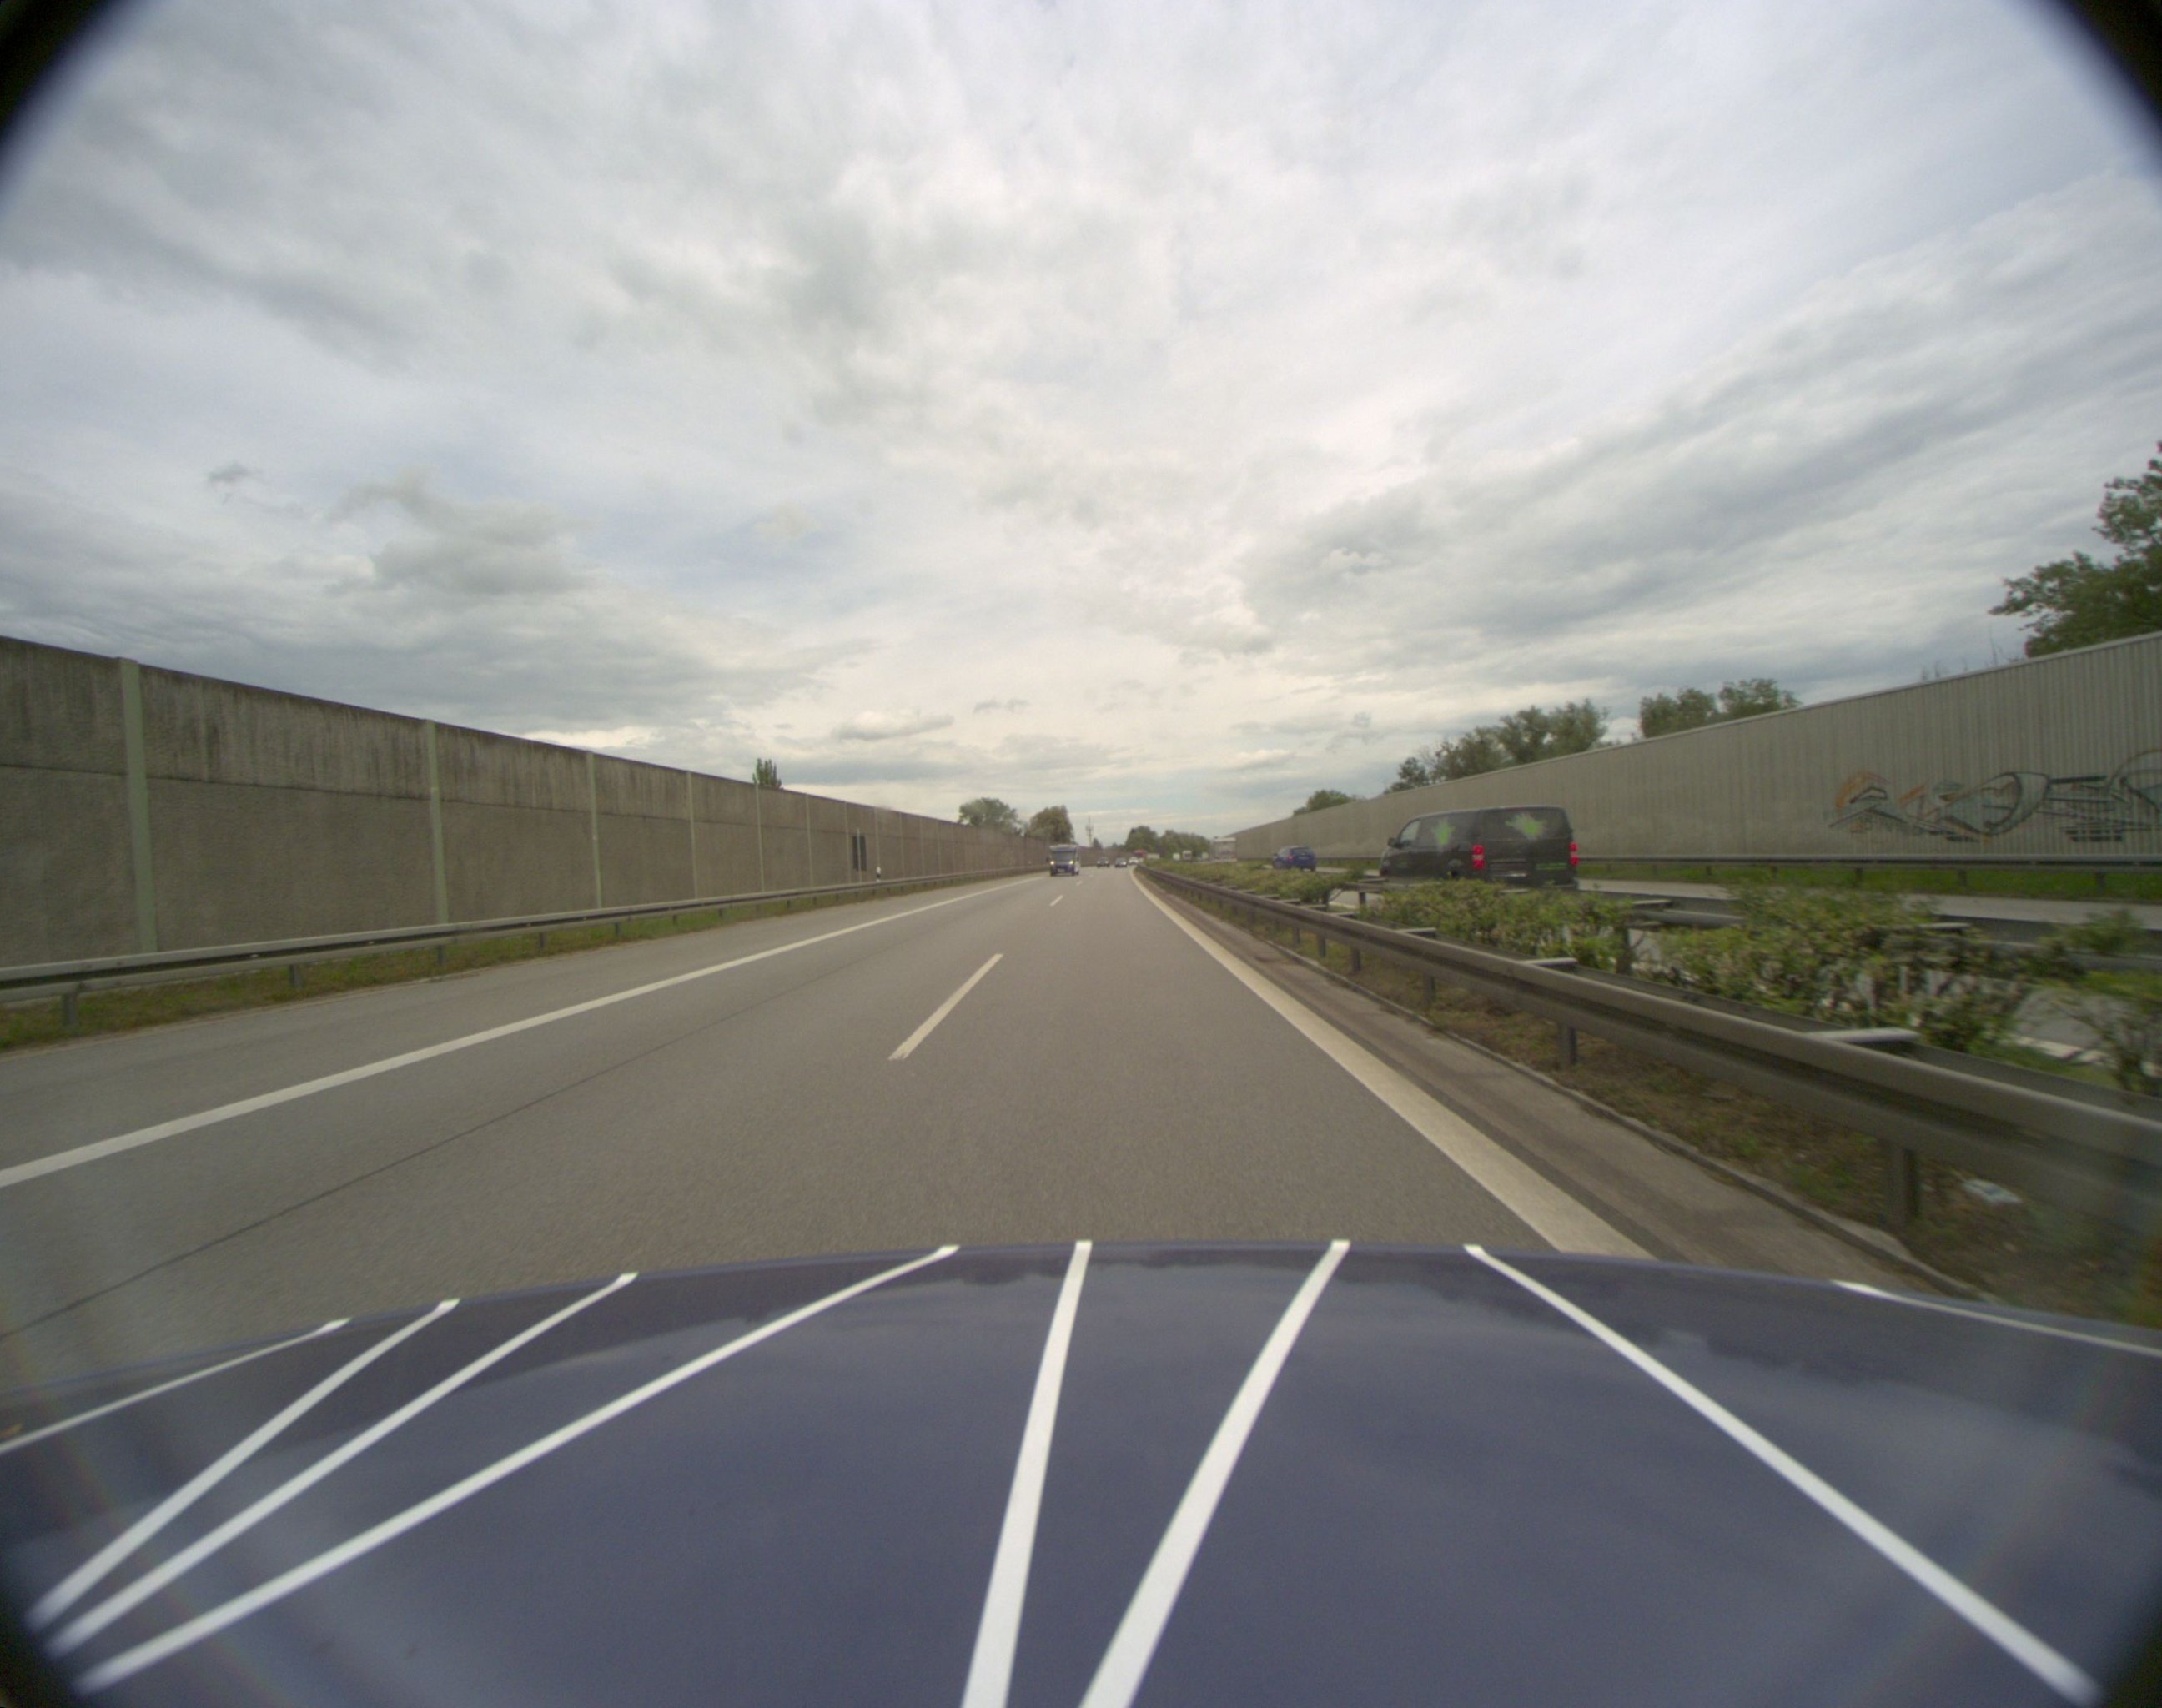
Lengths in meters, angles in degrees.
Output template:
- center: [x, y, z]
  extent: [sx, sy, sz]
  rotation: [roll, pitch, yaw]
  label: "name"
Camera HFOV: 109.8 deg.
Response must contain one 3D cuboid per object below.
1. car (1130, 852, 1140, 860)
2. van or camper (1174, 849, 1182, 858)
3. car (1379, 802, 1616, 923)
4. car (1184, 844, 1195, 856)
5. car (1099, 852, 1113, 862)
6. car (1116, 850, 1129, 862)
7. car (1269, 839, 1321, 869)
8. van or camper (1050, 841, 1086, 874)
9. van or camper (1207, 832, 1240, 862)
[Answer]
- center: [11.045, 0.326, 155.539]
  extent: [1.889, 1.608, 4.001]
  rotation: [-1, 0, 5]
  label: "car"
- center: [29.249, -0.164, 228.417]
  extent: [1.998, 2.427, 6.311]
  rotation: [-1, 0, 4]
  label: "van or camper"
- center: [7.580, 0.130, 14.471]
  extent: [1.998, 1.875, 4.555]
  rotation: [-2, 0, 1]
  label: "car"
- center: [24.157, -0.862, 169.554]
  extent: [2.116, 2.441, 5.685]
  rotation: [-1, 0, 5]
  label: "car"
- center: [3.949, 0.487, 120.977]
  extent: [1.888, 1.608, 4.002]
  rotation: [-1, 0, 7]
  label: "car"
- center: [6.264, 0.311, 113.934]
  extent: [1.889, 1.608, 4.001]
  rotation: [-1, 0, 5]
  label: "car"
- center: [12.174, 0.000, 43.519]
  extent: [1.816, 1.538, 4.516]
  rotation: [-2, 0, 1]
  label: "car"
- center: [-1.048, 0.309, 66.200]
  extent: [2.435, 2.680, 7.227]
  rotation: [-2, 0, 3]
  label: "van or camper"
- center: [13.904, -0.672, 74.534]
  extent: [2.259, 2.763, 5.755]
  rotation: [-2, 0, 2]
  label: "van or camper"
